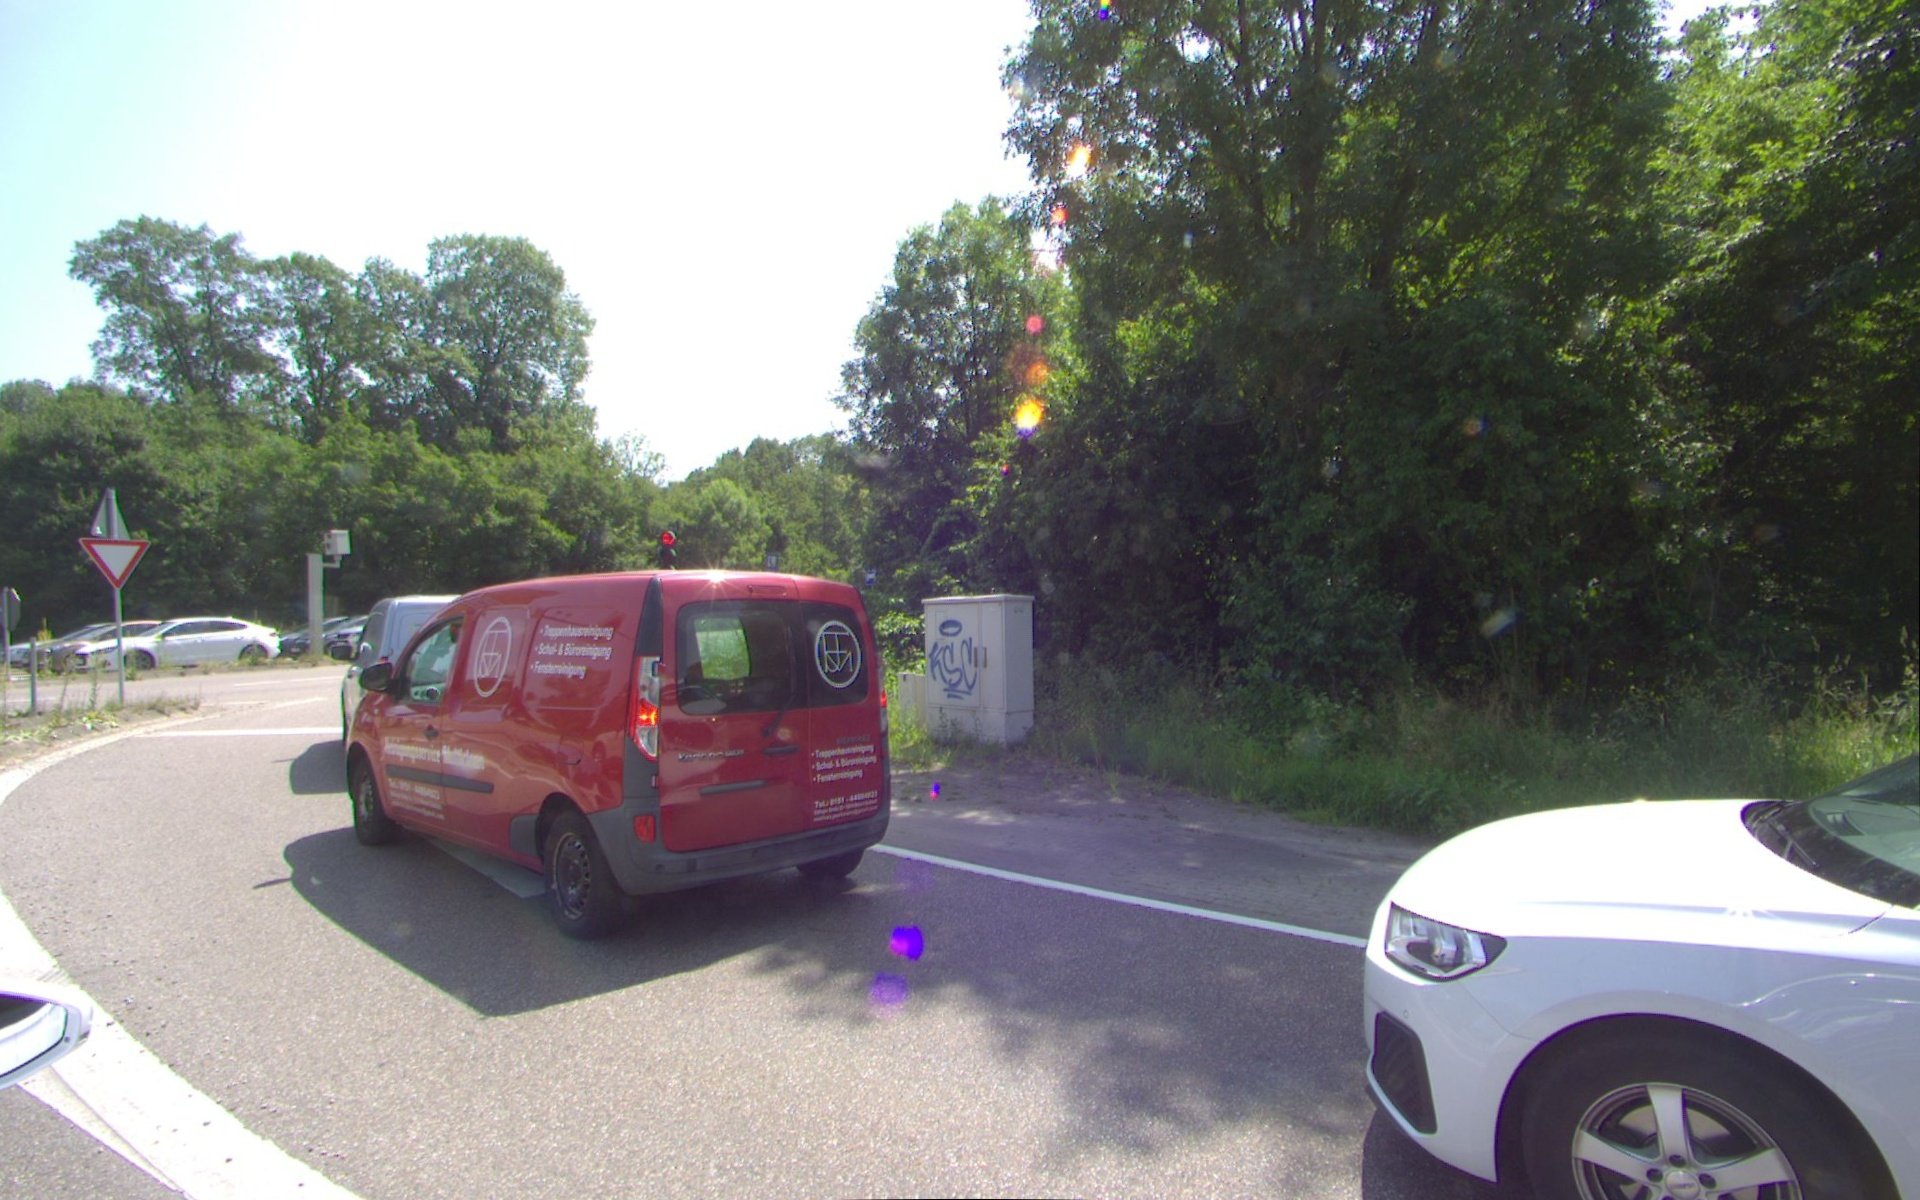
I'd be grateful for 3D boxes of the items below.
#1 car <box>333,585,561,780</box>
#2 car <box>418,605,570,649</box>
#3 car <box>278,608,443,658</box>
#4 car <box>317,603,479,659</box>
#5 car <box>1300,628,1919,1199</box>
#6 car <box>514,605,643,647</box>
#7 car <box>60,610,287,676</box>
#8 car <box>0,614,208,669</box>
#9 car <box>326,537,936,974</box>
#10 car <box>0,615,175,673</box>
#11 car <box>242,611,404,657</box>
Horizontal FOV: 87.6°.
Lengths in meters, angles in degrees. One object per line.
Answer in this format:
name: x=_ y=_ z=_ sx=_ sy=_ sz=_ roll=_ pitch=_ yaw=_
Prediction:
car: x=-5.974 y=0.787 z=11.407 sx=1.740 sy=1.797 sz=4.084 roll=0 pitch=0 yaw=-35
car: x=-18.265 y=1.039 z=39.529 sx=2.107 sy=1.554 sz=5.118 roll=-2 pitch=0 yaw=31
car: x=-20.518 y=1.093 z=34.451 sx=2.091 sy=1.555 sz=4.411 roll=-2 pitch=0 yaw=31
car: x=-18.145 y=0.949 z=32.536 sx=1.971 sy=1.681 sz=4.164 roll=-1 pitch=0 yaw=31
car: x=2.949 y=0.807 z=2.105 sx=3.946 sy=1.453 sz=1.686 roll=-1 pitch=-3 yaw=35
car: x=-14.510 y=0.966 z=38.288 sx=1.946 sy=1.433 sz=4.321 roll=-1 pitch=0 yaw=32
car: x=-21.117 y=1.092 z=27.099 sx=1.970 sy=1.555 sz=4.413 roll=-1 pitch=0 yaw=30
car: x=-27.005 y=1.254 z=31.530 sx=1.992 sy=1.518 sz=4.922 roll=-2 pitch=-1 yaw=32
car: x=-2.362 y=0.707 z=6.407 sx=4.447 sy=1.846 sz=1.782 roll=-1 pitch=-2 yaw=43
car: x=-24.926 y=1.184 z=28.136 sx=1.965 sy=1.466 sz=4.086 roll=-1 pitch=0 yaw=29
car: x=-23.331 y=1.199 z=36.858 sx=2.082 sy=1.518 sz=4.608 roll=-1 pitch=0 yaw=31
